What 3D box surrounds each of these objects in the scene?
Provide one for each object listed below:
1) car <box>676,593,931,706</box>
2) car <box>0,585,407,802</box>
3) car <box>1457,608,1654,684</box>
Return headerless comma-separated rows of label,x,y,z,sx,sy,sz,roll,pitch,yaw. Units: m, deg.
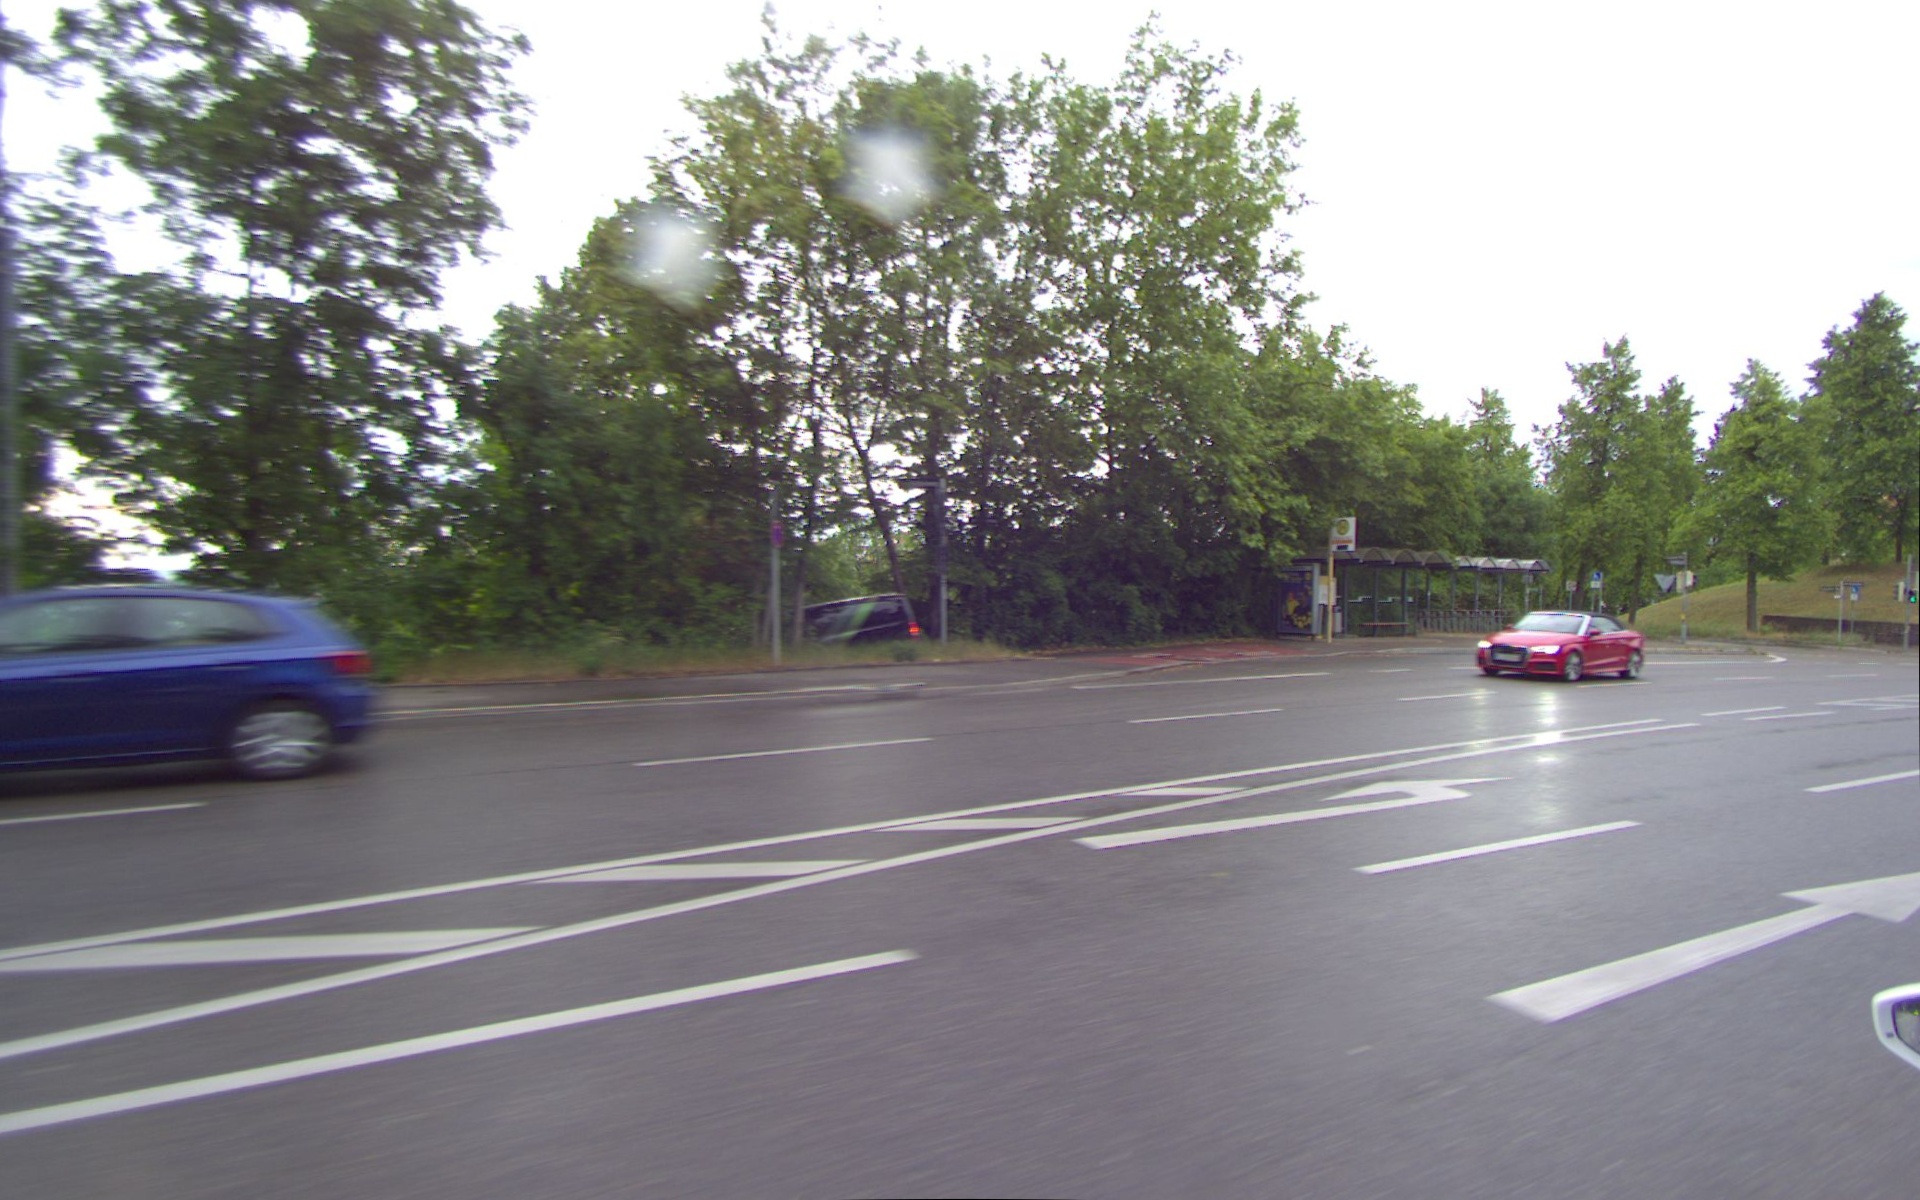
car,-3.336,1.006,21.664,5.068,1.972,2.106,-4,0,-10
car,-6.430,0.612,7.433,3.960,1.413,1.620,1,0,-35
car,12.675,0.924,21.312,4.338,1.392,1.864,1,1,-34
